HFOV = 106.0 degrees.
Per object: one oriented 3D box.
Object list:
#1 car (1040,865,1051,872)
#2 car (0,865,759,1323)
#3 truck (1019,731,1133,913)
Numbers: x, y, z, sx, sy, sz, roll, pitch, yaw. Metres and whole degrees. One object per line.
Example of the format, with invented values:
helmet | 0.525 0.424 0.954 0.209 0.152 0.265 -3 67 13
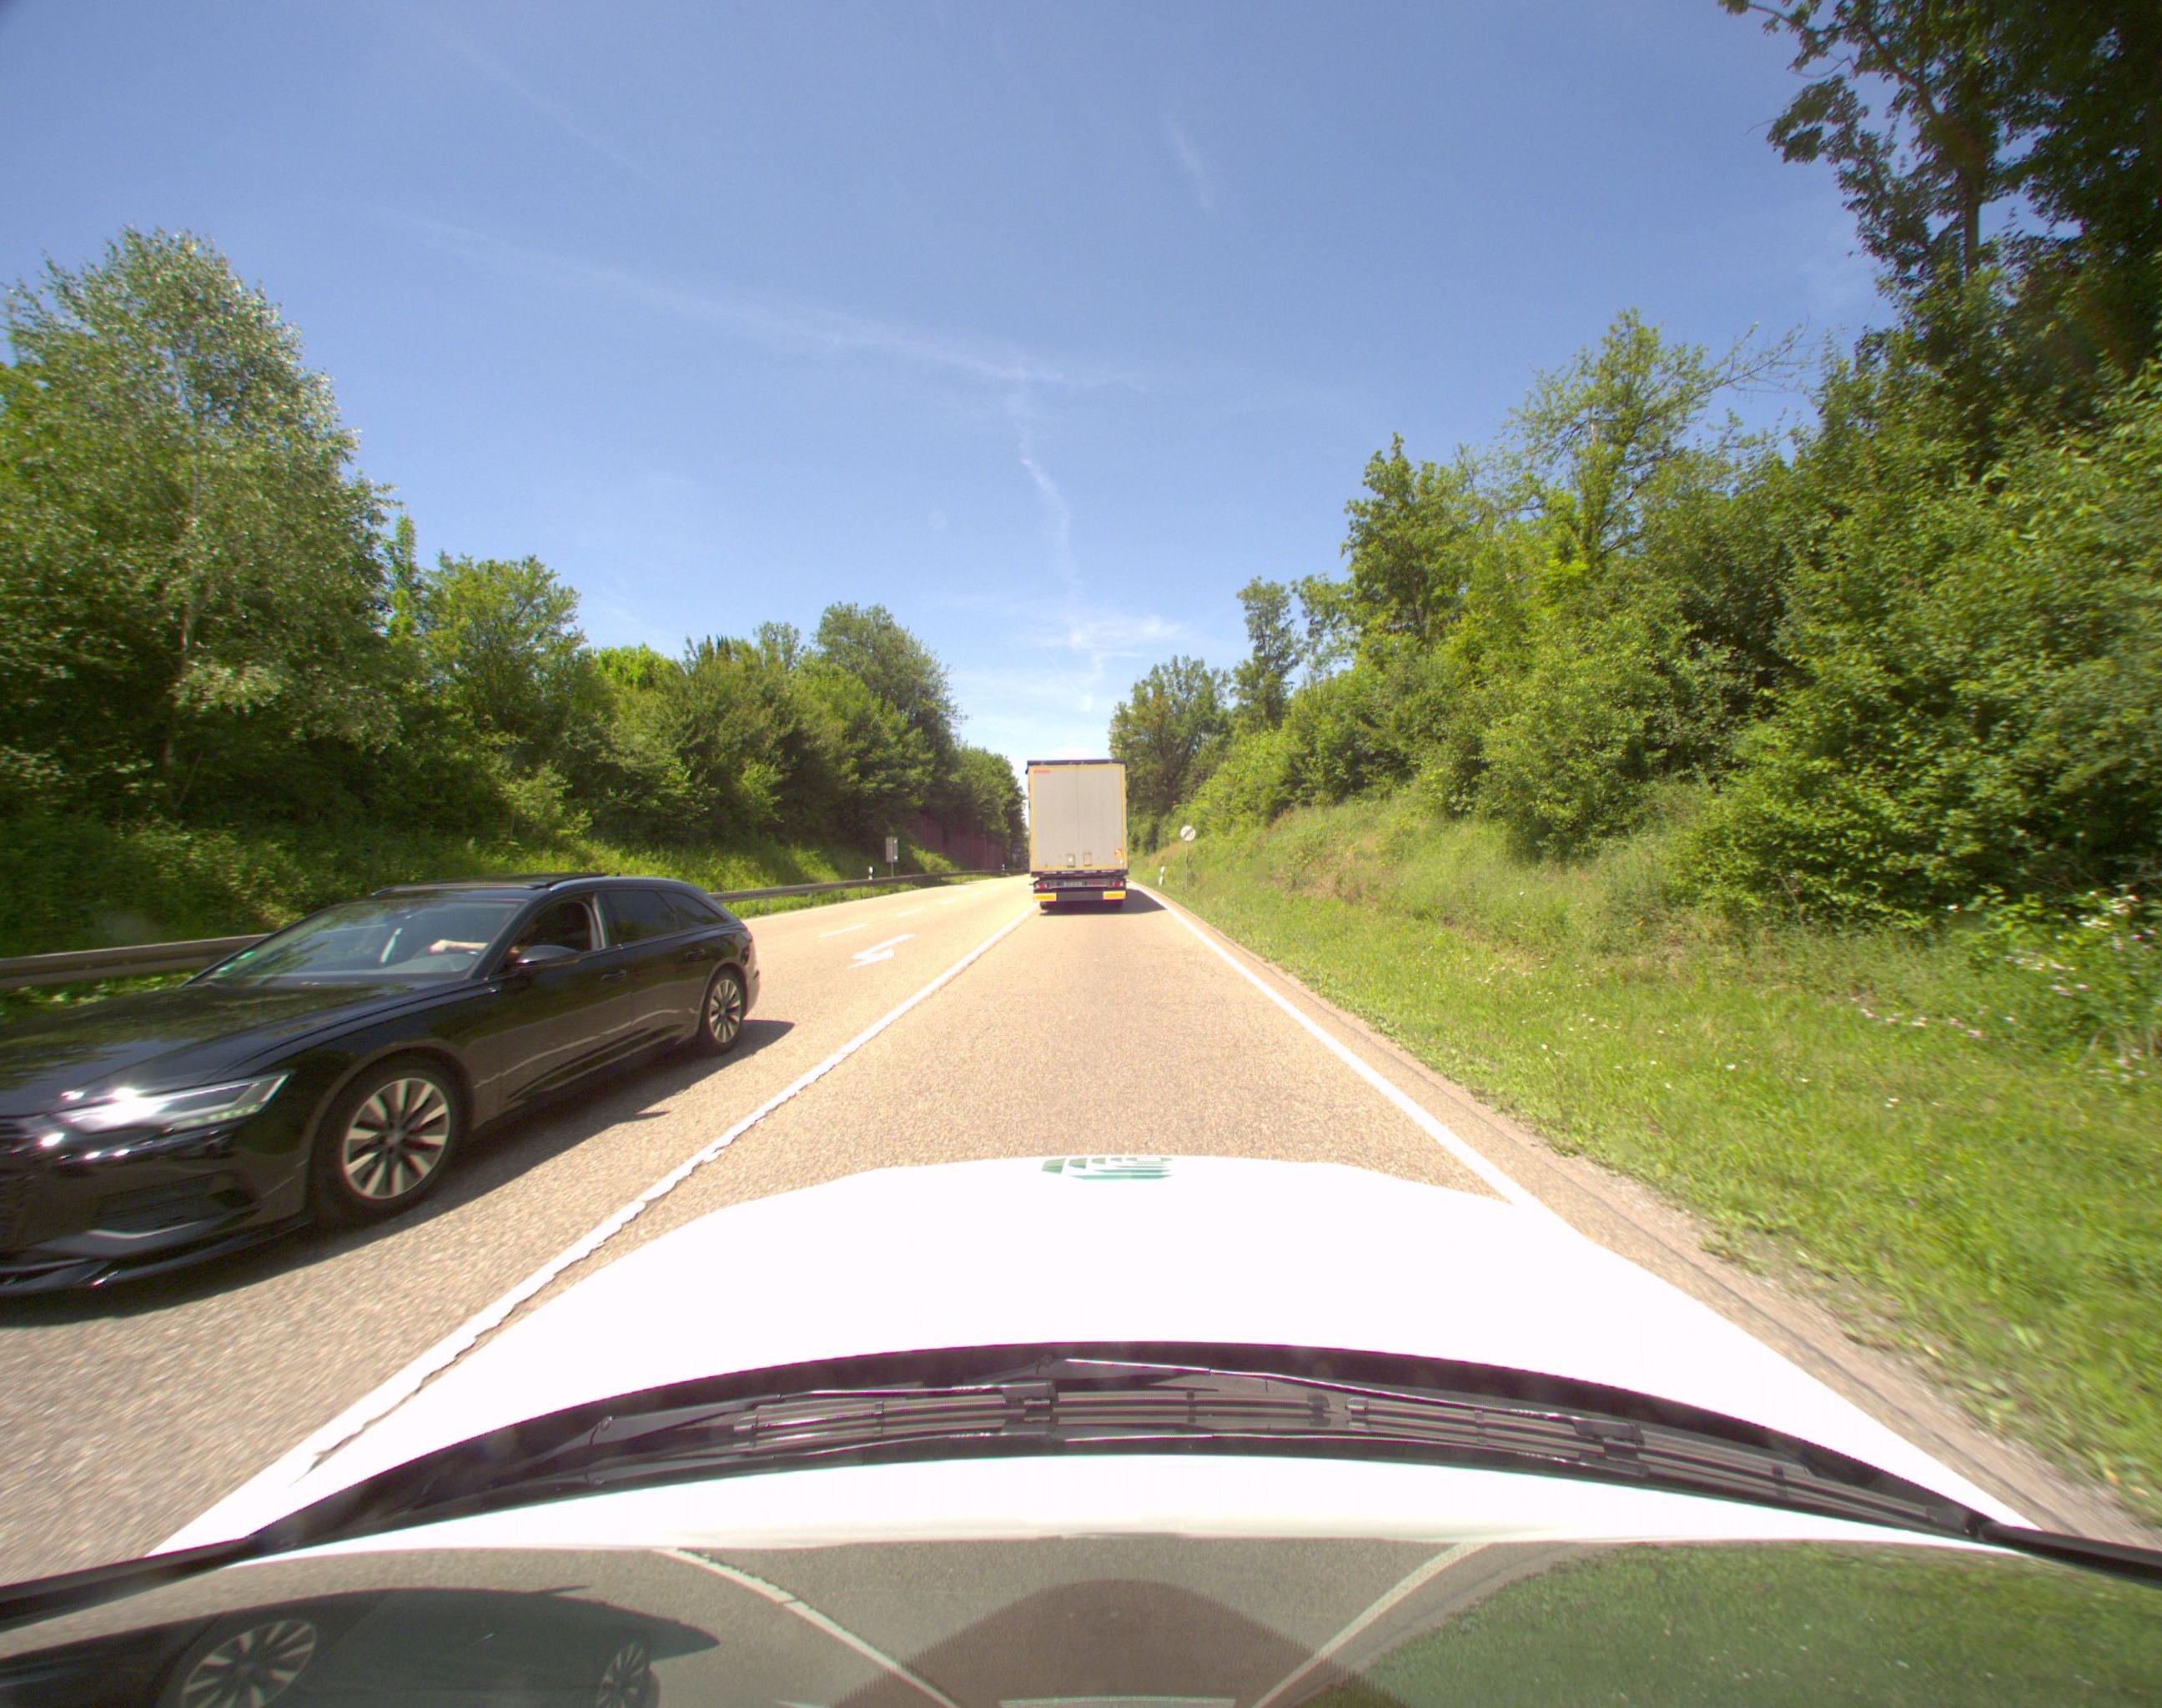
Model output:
car | -7.009 2.867 161.404 1.805 1.435 3.860 -2 0 -8
car | -3.810 0.842 4.918 1.797 1.453 4.389 -1 0 3
truck | -0.082 -0.836 24.208 2.813 4.603 6.666 -1 0 1
